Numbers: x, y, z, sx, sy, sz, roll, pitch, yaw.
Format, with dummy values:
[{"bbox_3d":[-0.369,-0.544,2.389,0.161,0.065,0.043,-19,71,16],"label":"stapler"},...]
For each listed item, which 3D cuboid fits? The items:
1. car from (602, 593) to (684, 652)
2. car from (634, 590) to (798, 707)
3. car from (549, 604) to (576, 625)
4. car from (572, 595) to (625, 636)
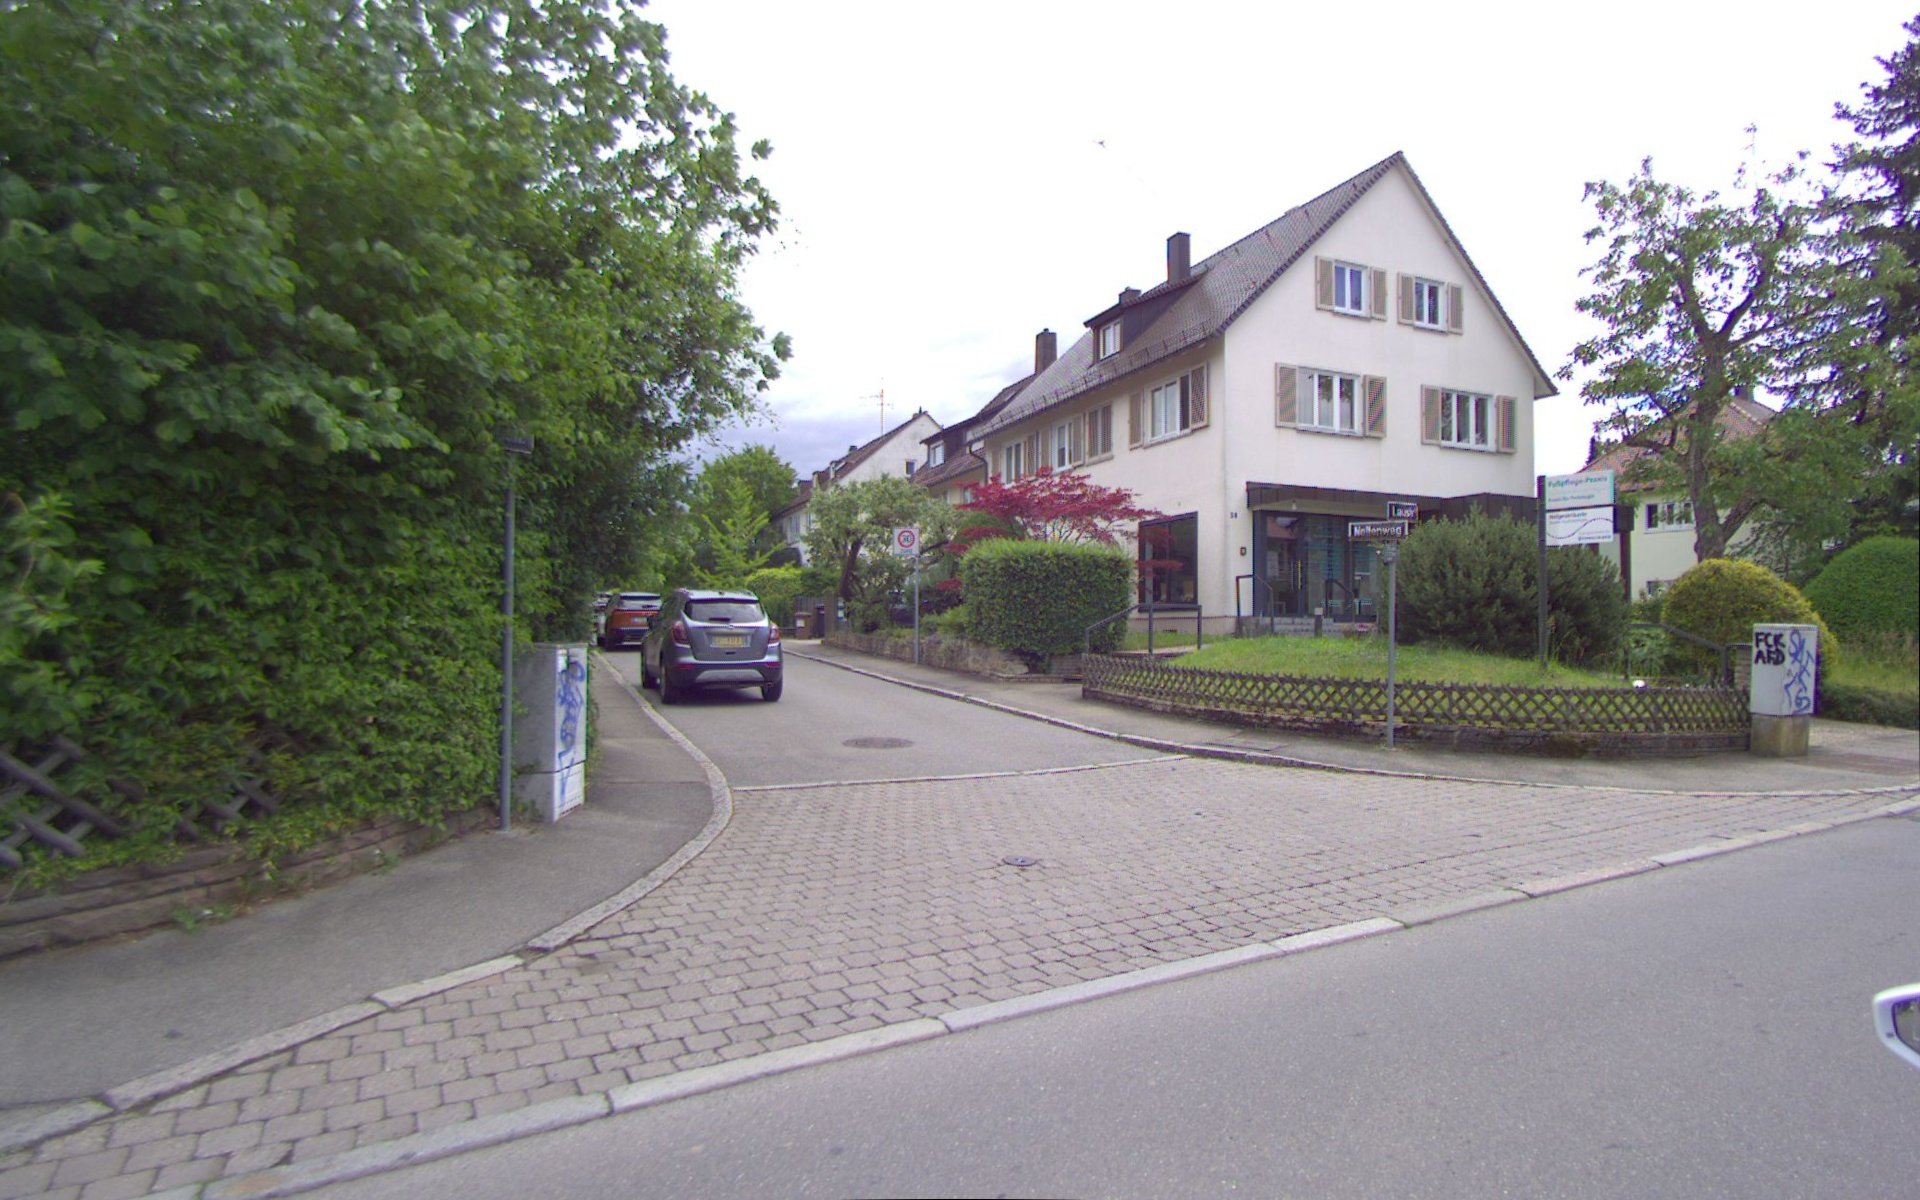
[{"bbox_3d":[-8.897,0.571,28.017,1.720,1.507,3.976,1,0,-24],"label":"car"},{"bbox_3d":[-4.035,0.668,16.126,1.851,1.619,3.976,1,0,-24],"label":"car"},{"bbox_3d":[-30.506,1.145,77.095,1.720,1.507,3.977,1,-3,-24],"label":"car"},{"bbox_3d":[-14.676,0.591,40.700,1.720,1.540,3.976,1,0,-24],"label":"car"}]
